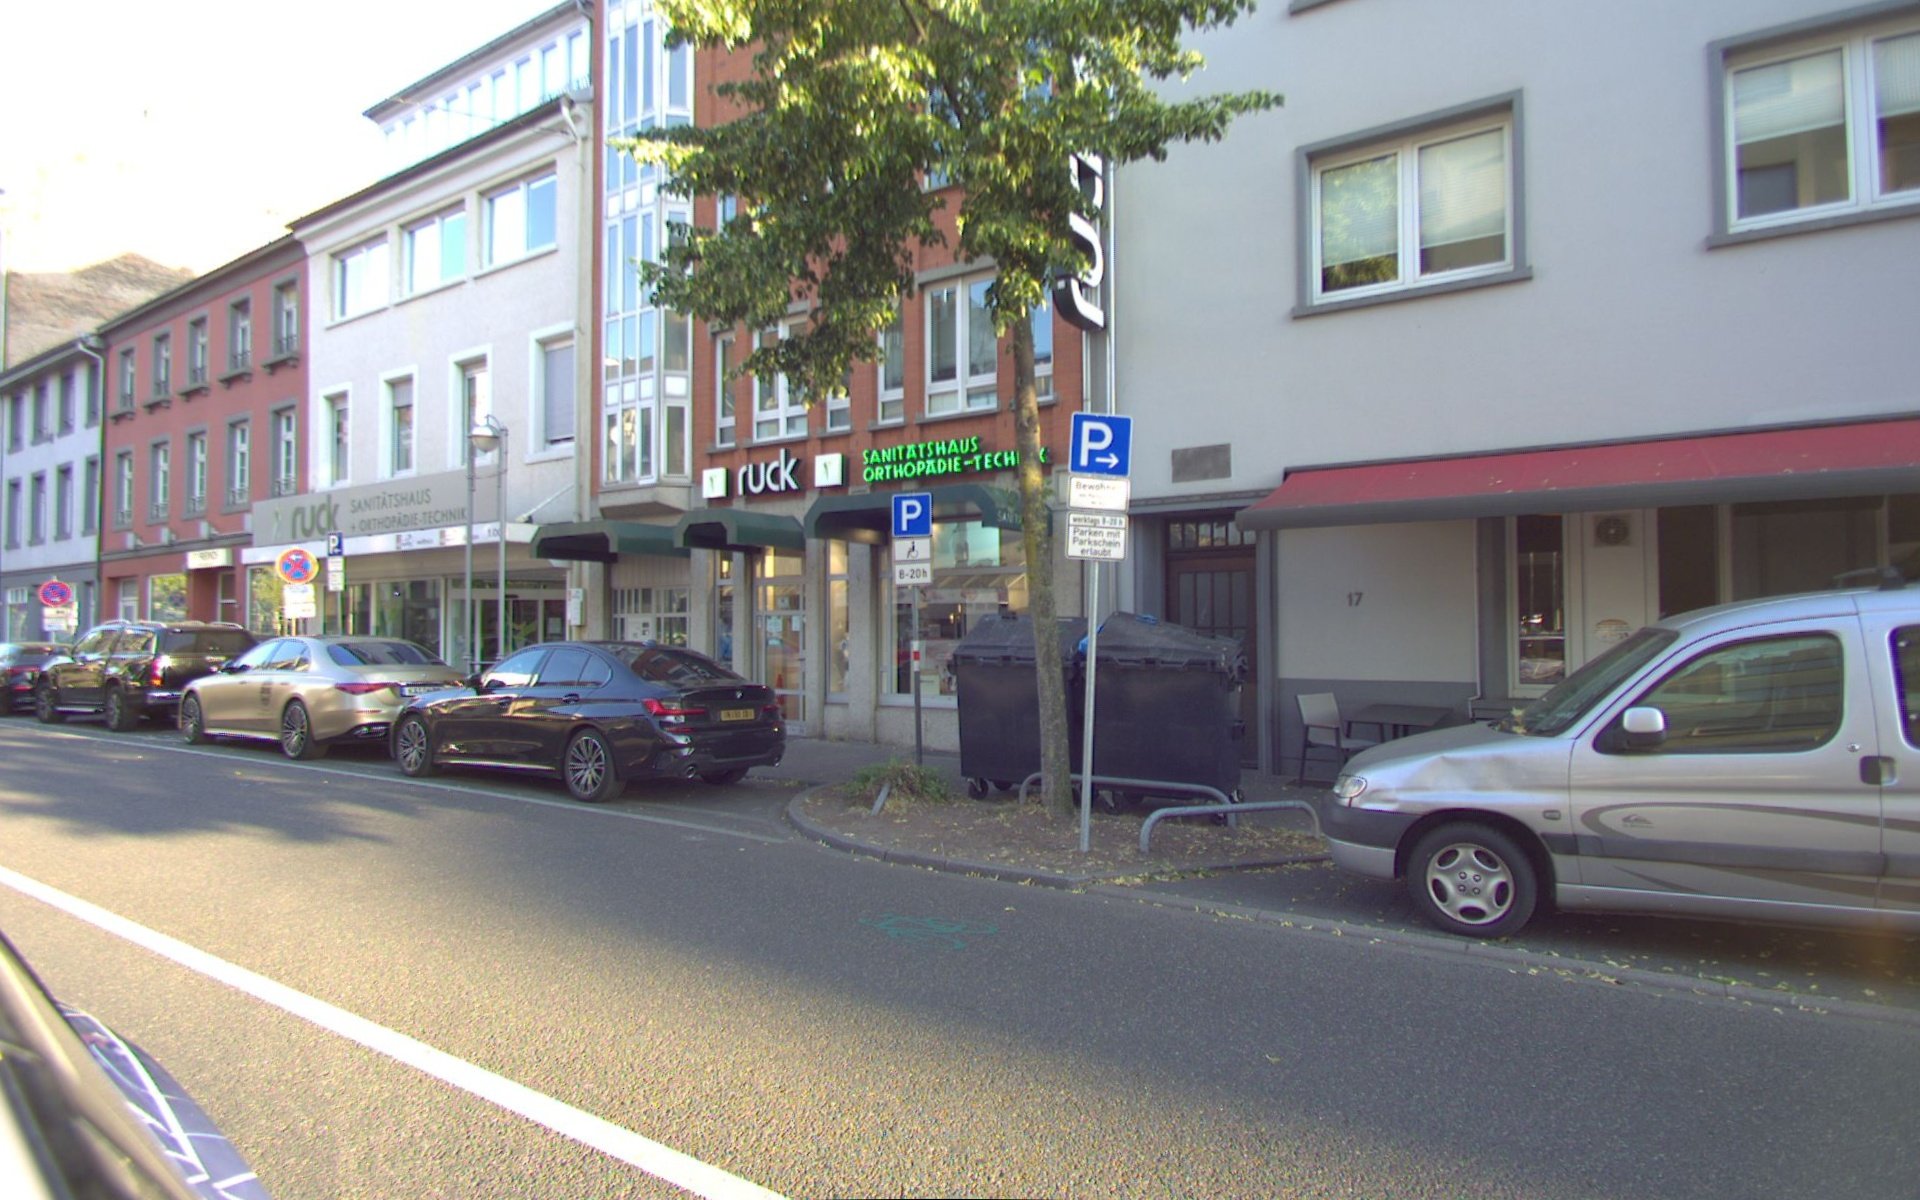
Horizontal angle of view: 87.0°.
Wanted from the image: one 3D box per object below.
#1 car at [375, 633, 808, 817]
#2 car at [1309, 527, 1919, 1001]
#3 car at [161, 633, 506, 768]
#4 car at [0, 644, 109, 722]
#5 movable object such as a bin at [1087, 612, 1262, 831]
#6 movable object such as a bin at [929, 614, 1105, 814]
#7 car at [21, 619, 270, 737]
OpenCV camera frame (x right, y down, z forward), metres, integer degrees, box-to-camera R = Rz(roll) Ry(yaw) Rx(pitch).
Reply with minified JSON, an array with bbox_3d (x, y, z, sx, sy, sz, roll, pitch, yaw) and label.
[{"bbox_3d":[-3.806,1.120,10.166,4.528,1.484,1.706,-2,-5,33],"label":"car"},{"bbox_3d":[3.973,0.708,4.987,4.038,1.902,1.657,-1,-4,31],"label":"car"},{"bbox_3d":[-8.417,1.234,13.433,5.094,1.484,1.977,-2,-4,34],"label":"car"},{"bbox_3d":[-19.243,1.655,20.645,4.001,1.448,1.688,-2,-5,32],"label":"car"},{"bbox_3d":[1.759,0.935,8.276,1.203,1.632,0.775,-1,0,30],"label":"movable object such as a bin"},{"bbox_3d":[0.507,0.957,9.000,1.331,1.632,0.775,-1,-1,30],"label":"movable object such as a bin"},{"bbox_3d":[-14.037,1.287,17.367,4.921,1.793,1.708,-2,-4,31],"label":"car"}]
